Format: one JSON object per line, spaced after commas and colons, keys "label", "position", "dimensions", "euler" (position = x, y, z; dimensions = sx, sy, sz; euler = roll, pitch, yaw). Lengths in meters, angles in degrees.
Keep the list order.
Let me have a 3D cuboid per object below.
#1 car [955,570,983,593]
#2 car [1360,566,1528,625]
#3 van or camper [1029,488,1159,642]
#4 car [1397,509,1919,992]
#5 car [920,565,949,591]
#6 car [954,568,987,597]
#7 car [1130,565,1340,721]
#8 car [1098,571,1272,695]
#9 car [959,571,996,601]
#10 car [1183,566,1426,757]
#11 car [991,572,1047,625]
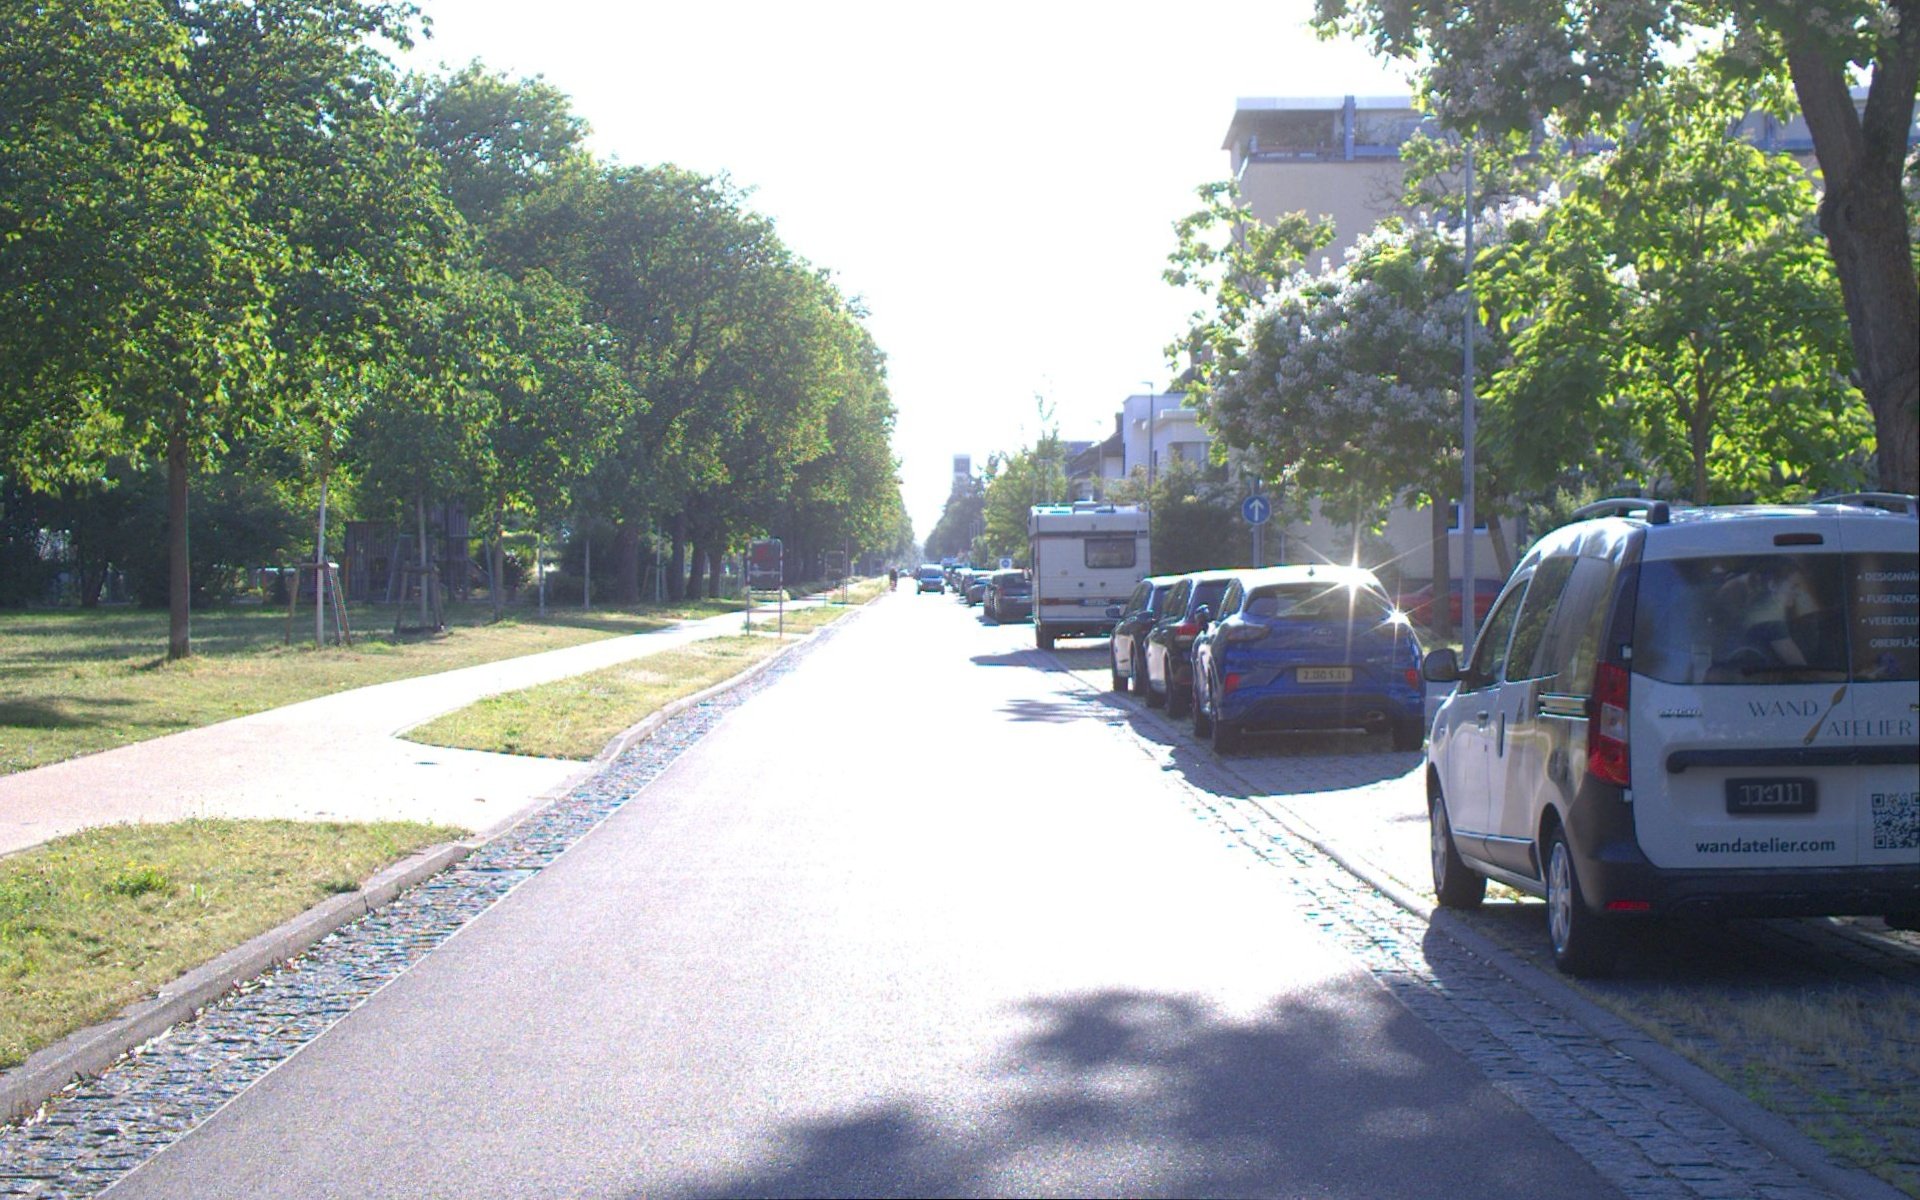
{"label": "car", "position": [0.517, -1.117, 210.153], "dimensions": [1.626, 1.405, 4.249], "euler": [0, 0, -1]}
{"label": "car", "position": [12.568, -0.118, 89.469], "dimensions": [4.195, 1.525, 2.000], "euler": [0, 0, 4]}
{"label": "van or camper", "position": [2.579, -0.620, 67.632], "dimensions": [2.234, 2.894, 5.673], "euler": [0, -1, -1]}
{"label": "car", "position": [3.019, 0.538, 14.617], "dimensions": [1.678, 1.734, 4.514], "euler": [0, 0, -1]}
{"label": "car", "position": [-1.635, -1.400, 221.581], "dimensions": [1.825, 1.663, 4.249], "euler": [0, 0, -1]}
{"label": "car", "position": [0.517, -0.877, 173.829], "dimensions": [1.626, 1.405, 4.249], "euler": [0, 0, -1]}
{"label": "car", "position": [2.840, 0.425, 36.291], "dimensions": [1.731, 1.545, 4.423], "euler": [0, 0, -2]}
{"label": "car", "position": [2.757, 0.389, 42.875], "dimensions": [1.626, 1.459, 4.250], "euler": [0, 0, -4]}
{"label": "car", "position": [0.816, -0.646, 162.336], "dimensions": [1.626, 1.405, 4.249], "euler": [0, 0, -1]}
{"label": "car", "position": [2.934, 0.498, 30.038], "dimensions": [1.732, 1.545, 4.275], "euler": [0, 0, 0]}
{"label": "car", "position": [1.857, -0.047, 108.885], "dimensions": [1.626, 1.663, 4.249], "euler": [0, 0, -1]}
